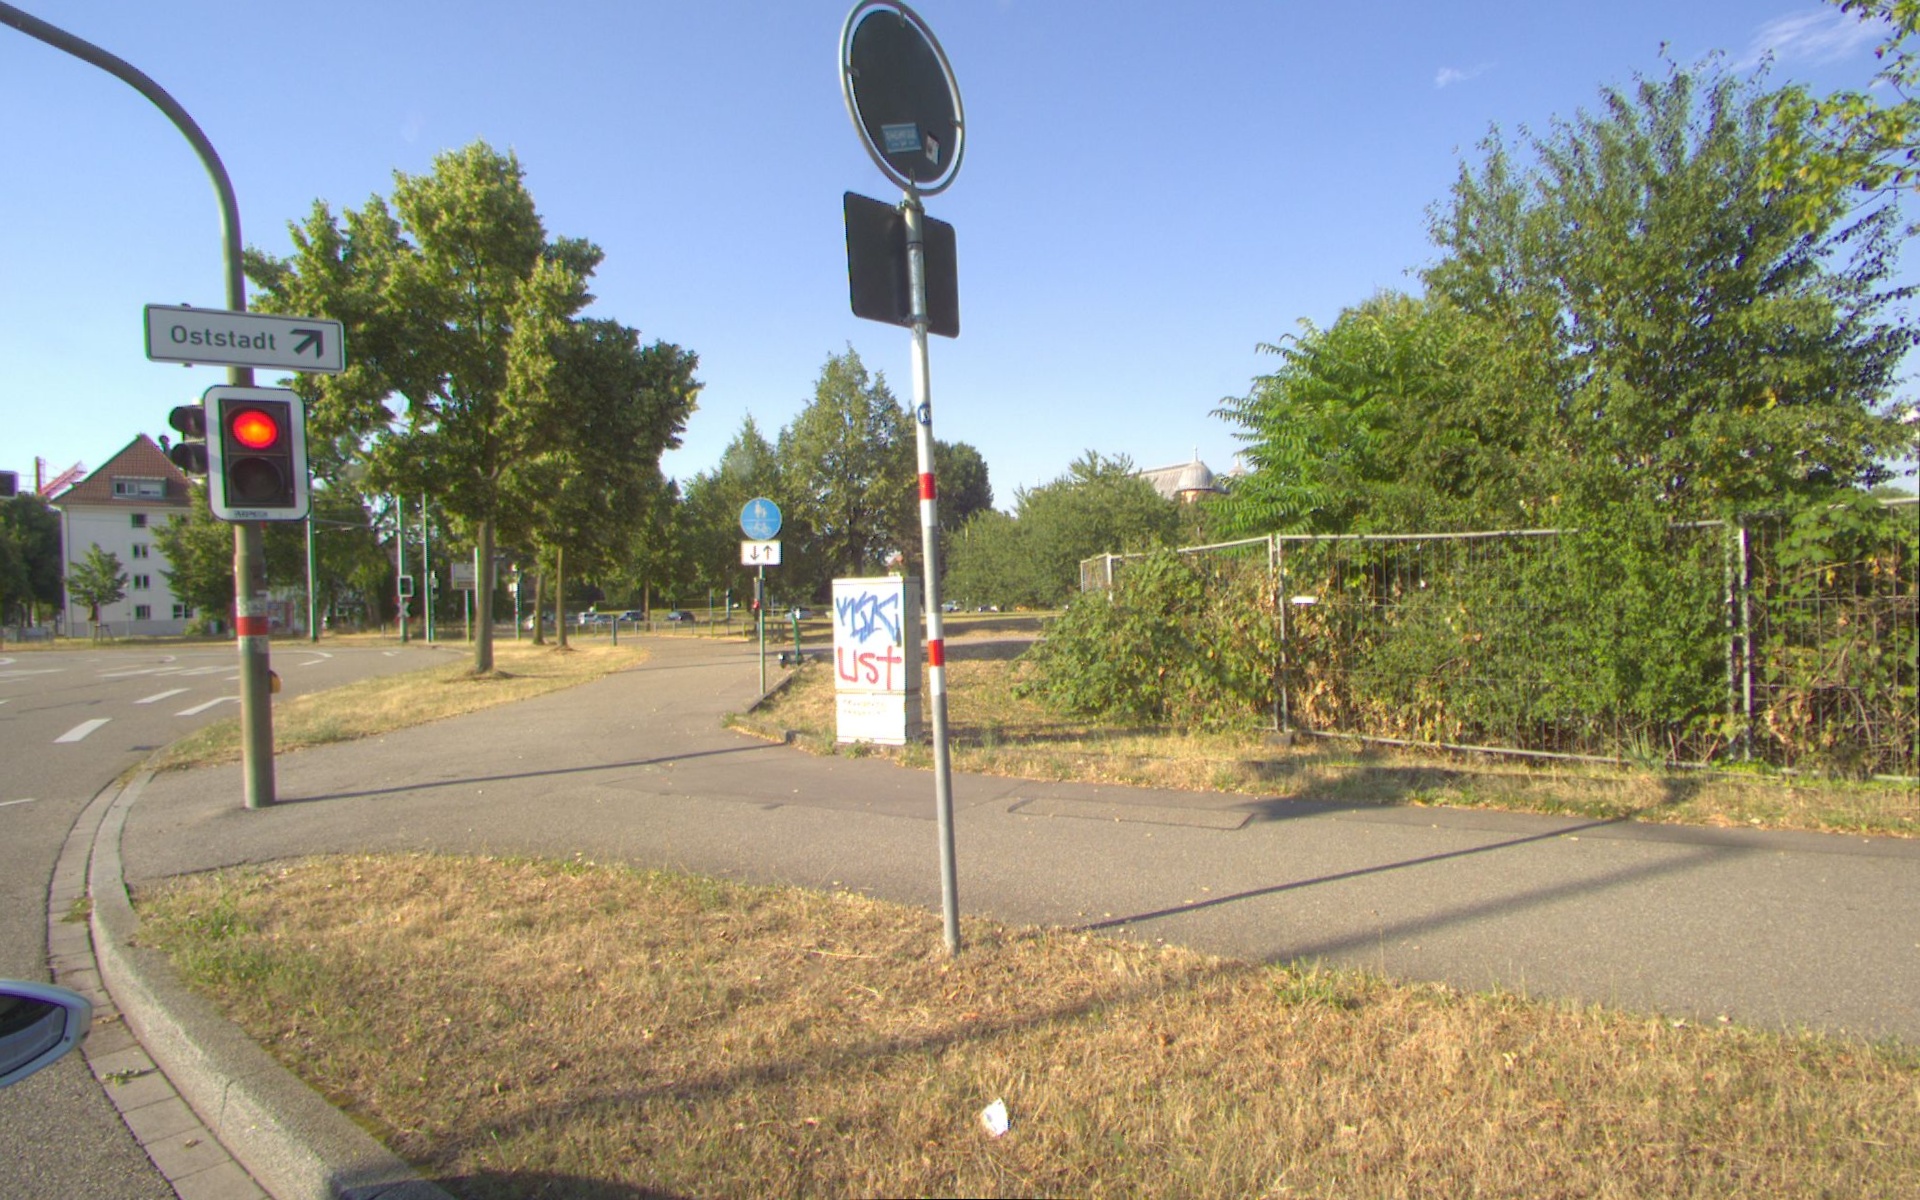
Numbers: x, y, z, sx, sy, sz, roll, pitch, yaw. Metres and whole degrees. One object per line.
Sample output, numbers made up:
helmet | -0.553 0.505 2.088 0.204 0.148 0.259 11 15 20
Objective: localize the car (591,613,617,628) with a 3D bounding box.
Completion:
car | -31.891 1.841 89.603 1.583 1.237 3.950 -1 -1 -29

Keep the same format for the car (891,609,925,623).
car | -5.564 1.714 106.868 1.803 1.421 3.976 -1 -1 -33

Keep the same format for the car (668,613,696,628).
car | -25.775 1.862 92.779 1.583 1.327 3.950 -1 -1 -29

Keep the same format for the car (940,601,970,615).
car | -0.655 0.991 123.591 1.803 1.694 3.976 -1 0 -33

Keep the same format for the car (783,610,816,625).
car | -16.023 1.795 100.036 1.803 1.421 3.976 -1 -1 -33

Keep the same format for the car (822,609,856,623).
car | -12.468 1.667 102.945 1.803 1.421 3.976 -1 -1 -33

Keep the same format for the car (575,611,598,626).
car | -37.141 1.879 99.547 1.583 1.420 3.950 -1 0 -29

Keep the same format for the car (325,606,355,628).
car | -48.224 1.362 77.970 1.751 1.639 3.950 -1 0 -29

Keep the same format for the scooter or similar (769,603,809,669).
scooter or similar | -3.291 0.672 19.319 0.336 1.175 1.169 -4 2 8

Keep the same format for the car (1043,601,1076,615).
car | 11.734 0.992 118.543 1.803 1.589 3.976 -1 0 -33

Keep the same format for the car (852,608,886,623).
car | -9.484 1.649 104.193 1.802 1.421 3.976 -3 0 -33

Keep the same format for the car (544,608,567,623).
car | -39.525 1.524 97.741 1.583 1.420 3.950 -1 0 -29

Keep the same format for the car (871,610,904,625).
car | -7.647 1.860 105.421 1.803 1.421 3.976 -1 -1 -33

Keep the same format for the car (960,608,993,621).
car | 1.803 1.631 111.454 1.803 1.421 3.976 -1 -1 -33

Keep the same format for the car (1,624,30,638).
car | -120.388 4.000 127.628 1.973 1.803 3.977 1 -2 -33

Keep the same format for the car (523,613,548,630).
car | -36.687 1.879 86.516 1.583 1.420 3.950 -1 0 -29

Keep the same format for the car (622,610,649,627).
car | -29.322 1.691 90.538 1.583 1.420 3.950 -1 0 -29

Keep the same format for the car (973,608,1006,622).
car | 3.340 1.698 113.201 1.803 1.421 3.976 -1 -1 -33
